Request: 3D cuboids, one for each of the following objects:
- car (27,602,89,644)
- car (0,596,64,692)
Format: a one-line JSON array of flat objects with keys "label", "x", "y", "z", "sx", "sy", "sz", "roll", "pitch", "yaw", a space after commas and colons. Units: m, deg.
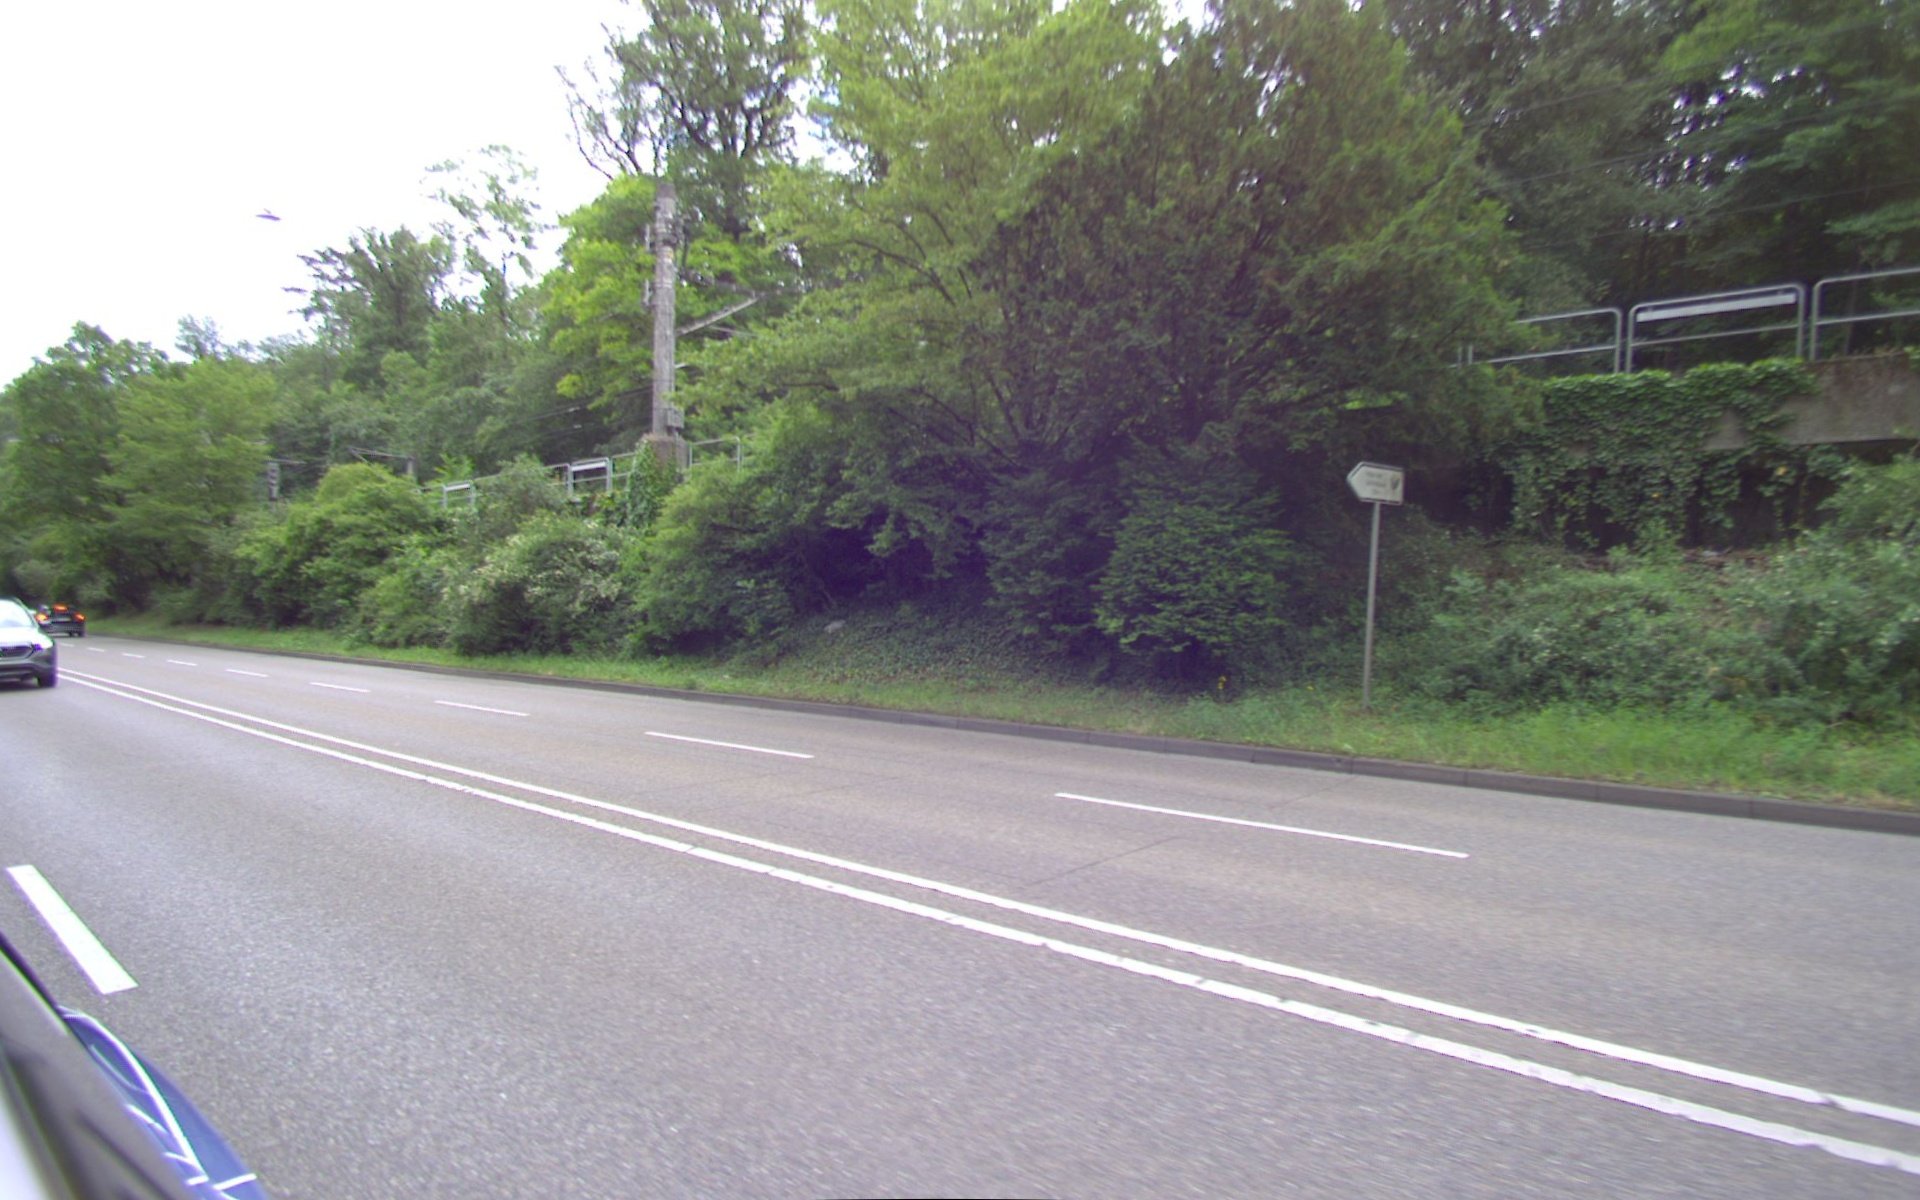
[{"label": "car", "x": -43.962, "y": 1.092, "z": 49.288, "sx": 4.068, "sy": 1.608, "sz": 1.718, "roll": 7, "pitch": 4, "yaw": 41}, {"label": "car", "x": -18.399, "y": 0.767, "z": 18.973, "sx": 4.190, "sy": 1.675, "sz": 1.847, "roll": 0, "pitch": -1, "yaw": 41}]
